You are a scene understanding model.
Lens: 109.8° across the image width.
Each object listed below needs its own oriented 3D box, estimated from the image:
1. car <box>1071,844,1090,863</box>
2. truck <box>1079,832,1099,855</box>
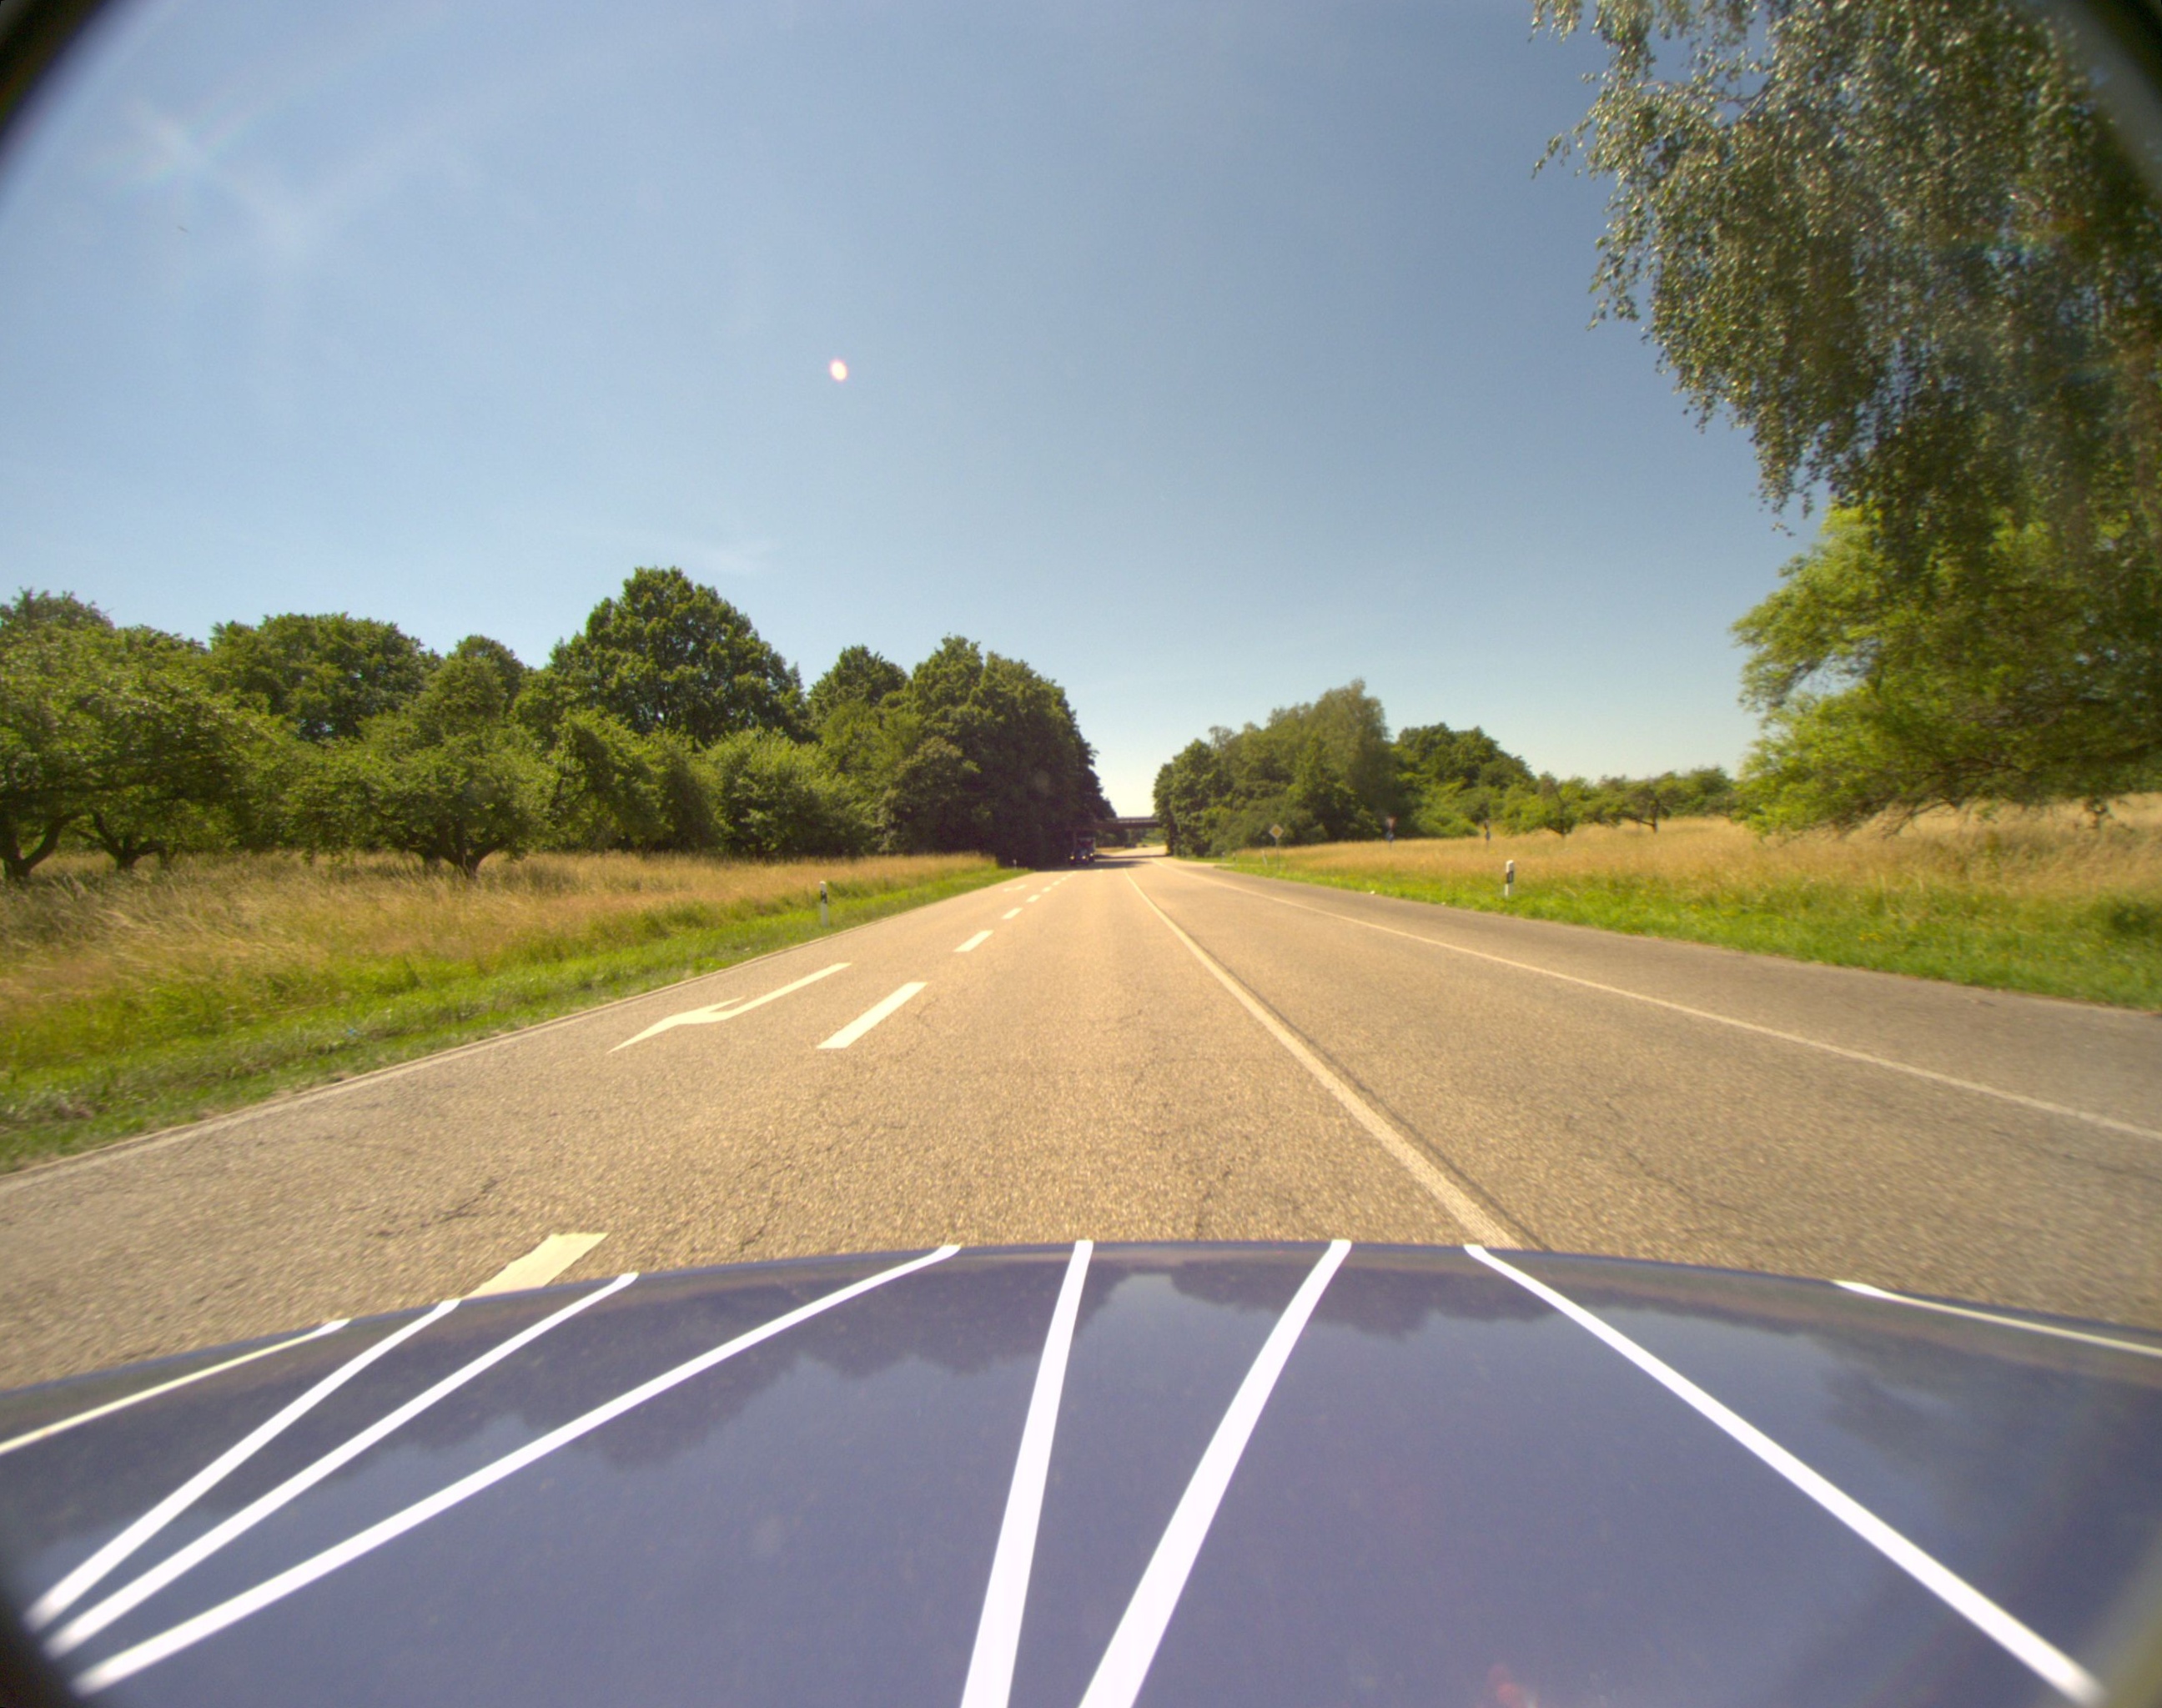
[{"bbox_3d":[0.003,-0.082,78.509,1.746,1.833,3.999,-2,1,2],"label":"car"},{"bbox_3d":[1.064,-1.434,100.089,2.457,2.927,6.973,-2,1,2],"label":"truck"}]
